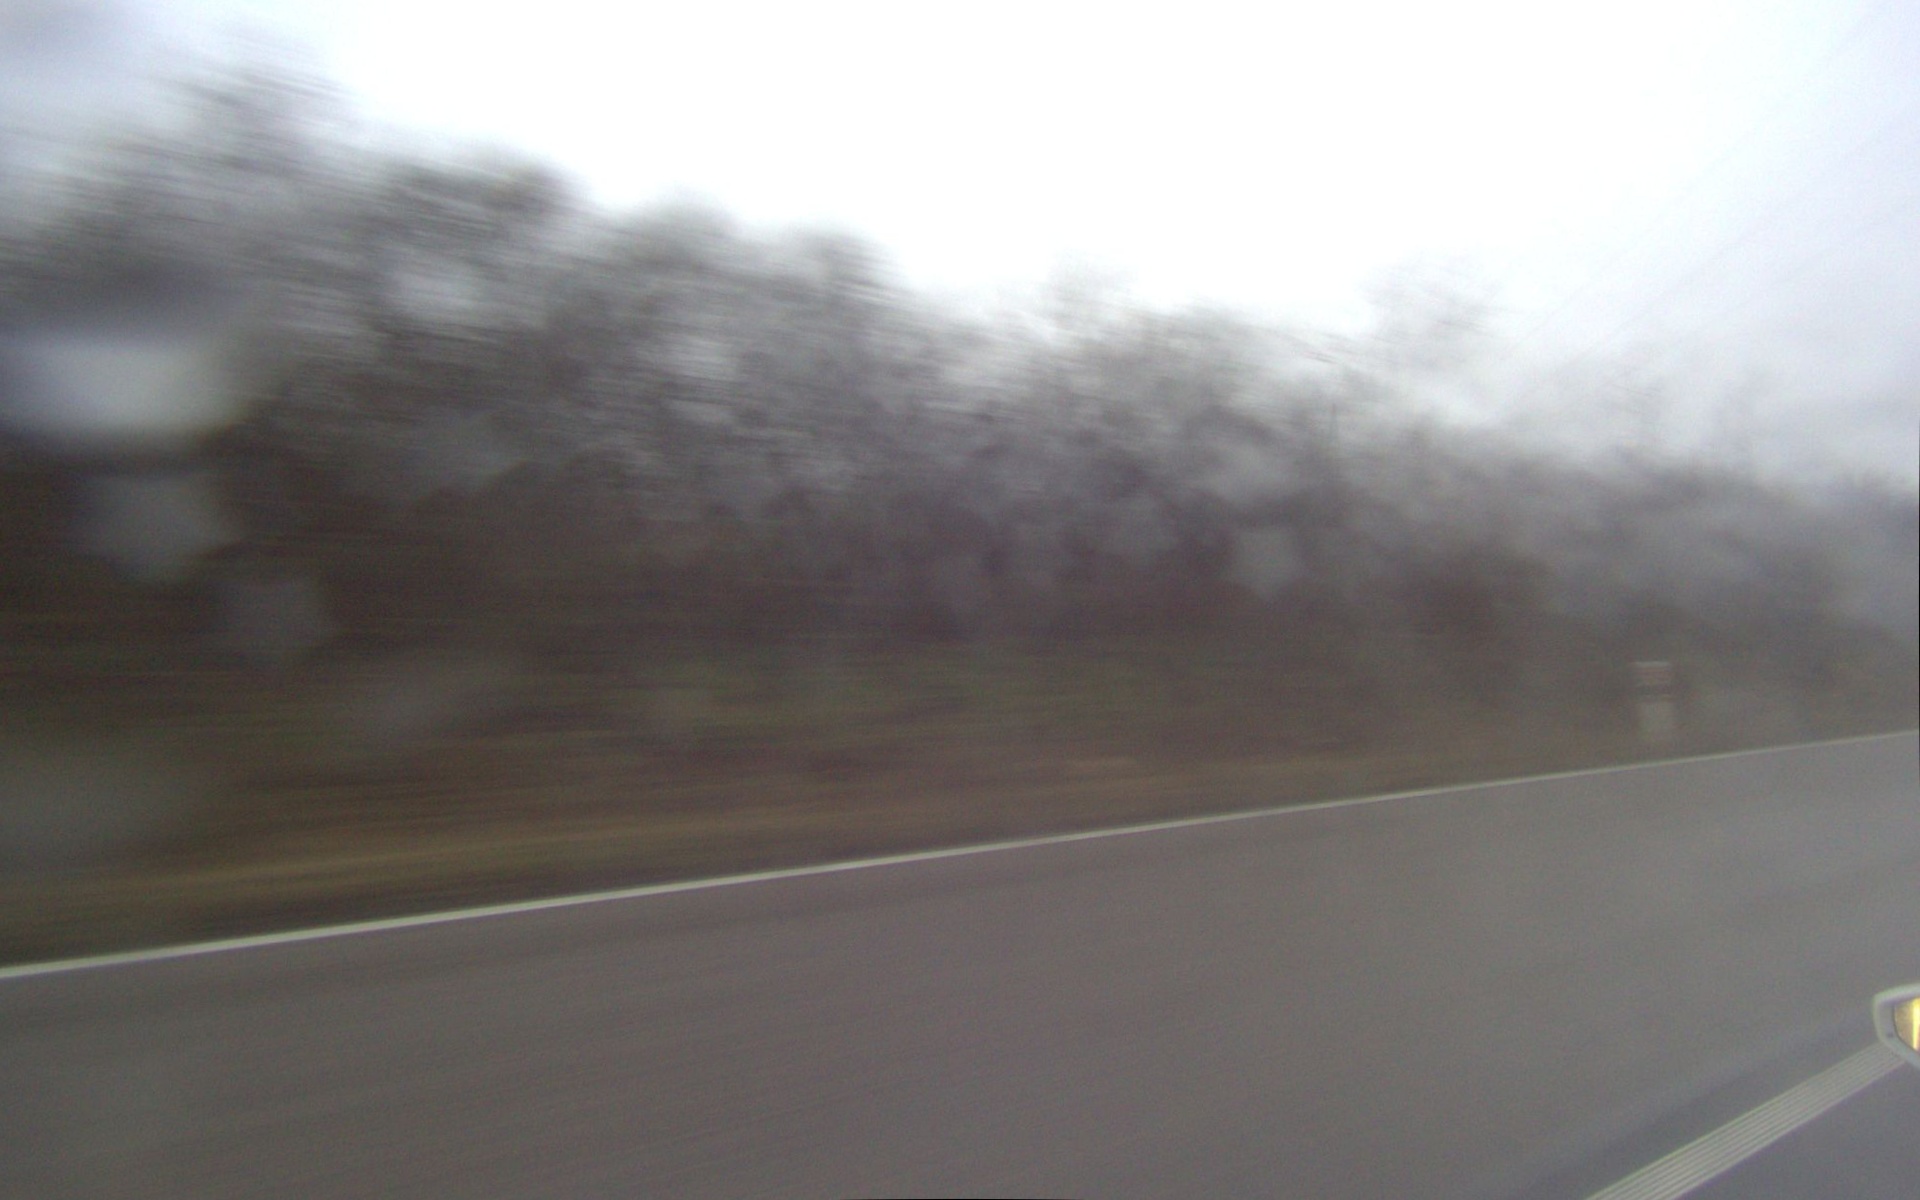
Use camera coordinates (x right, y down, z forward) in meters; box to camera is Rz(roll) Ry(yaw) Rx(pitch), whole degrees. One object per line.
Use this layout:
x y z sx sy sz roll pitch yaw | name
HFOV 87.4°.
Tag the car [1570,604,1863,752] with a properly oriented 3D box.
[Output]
9.712 0.928 12.852 3.731 1.630 1.767 2 -2 -32 | car
